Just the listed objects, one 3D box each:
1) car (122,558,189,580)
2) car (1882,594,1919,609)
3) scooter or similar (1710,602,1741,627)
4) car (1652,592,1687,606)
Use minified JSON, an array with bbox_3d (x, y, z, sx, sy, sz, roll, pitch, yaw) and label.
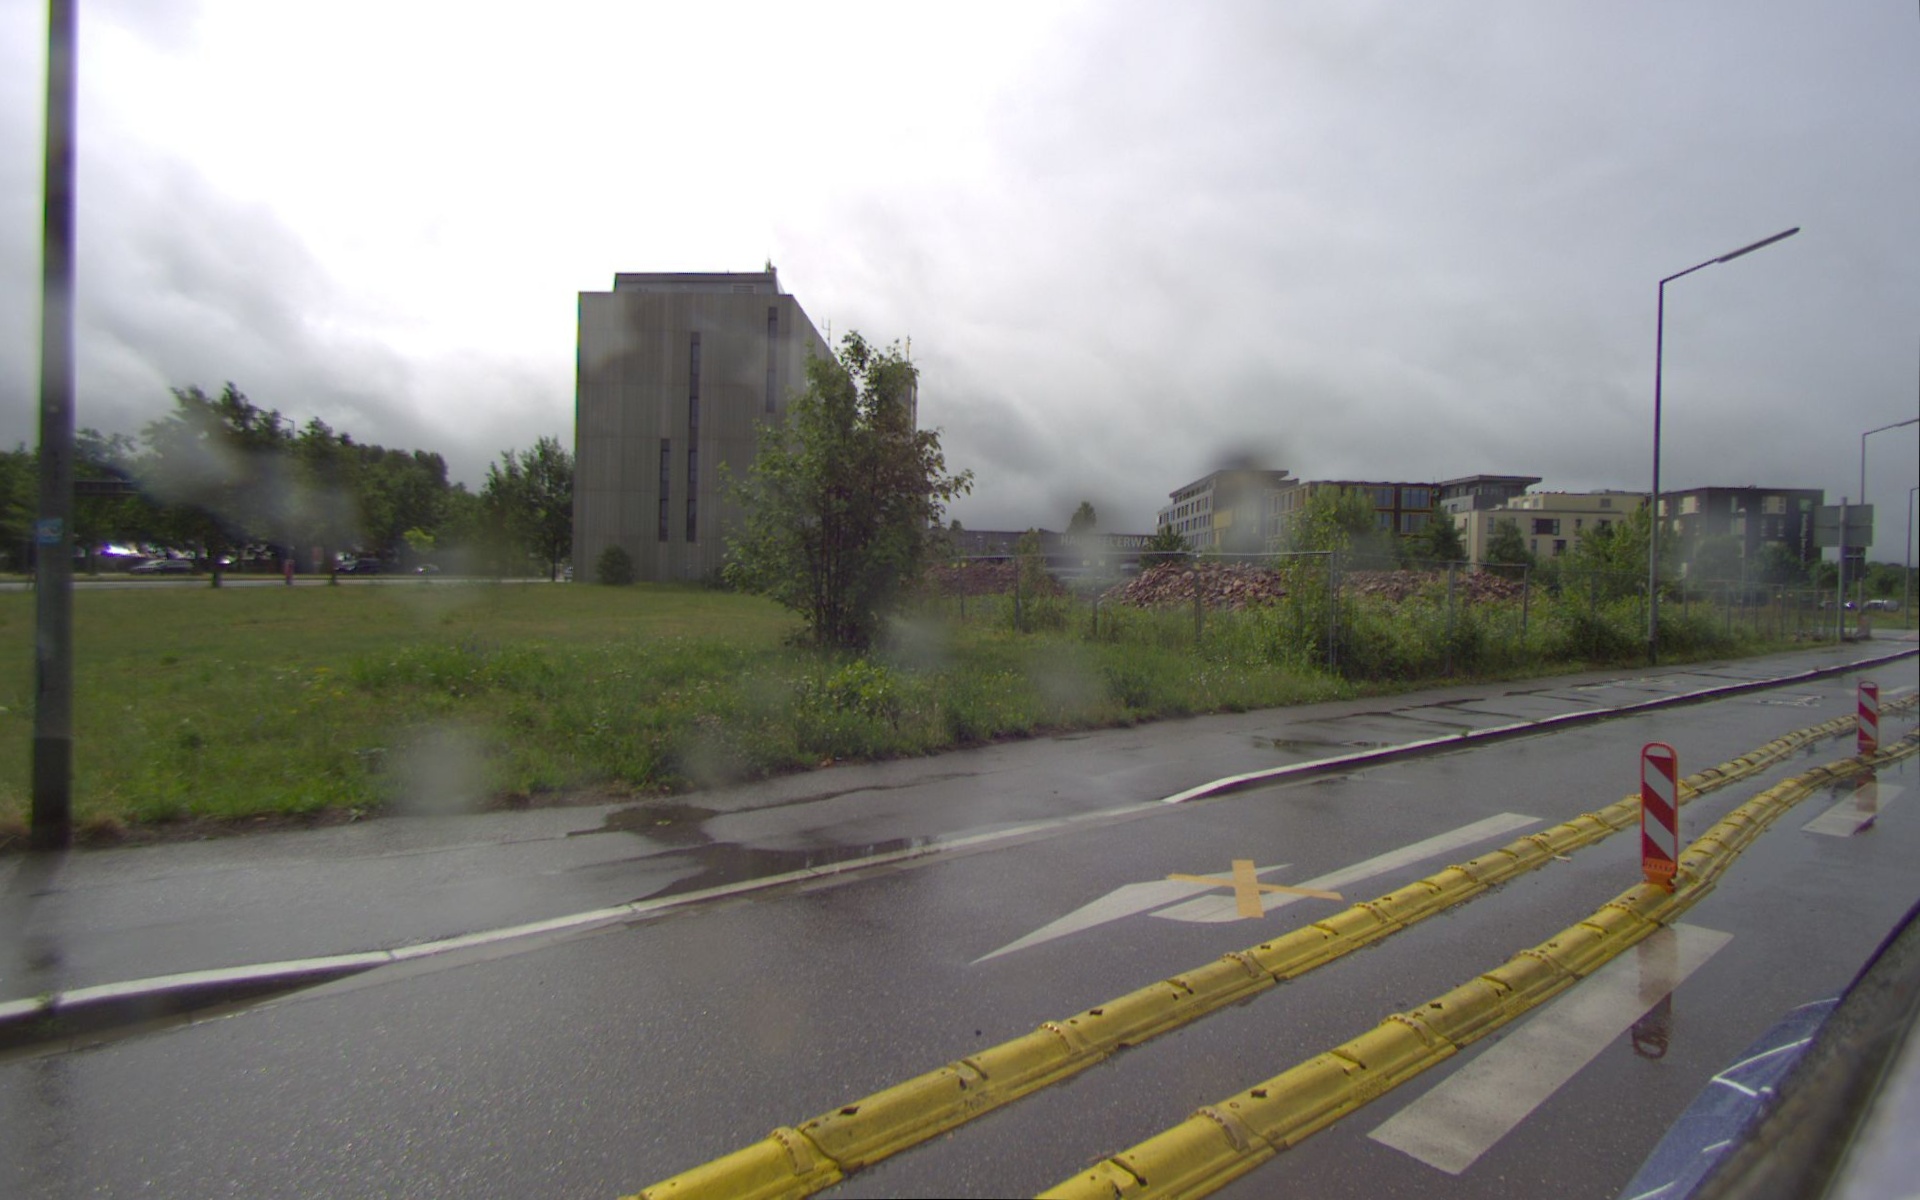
[{"bbox_3d":[-60.338,-2.323,75.967,1.515,1.578,4.232,1,1,3],"label":"car"},{"bbox_3d":[136.876,0.169,146.917,3.930,2.039,1.997,1,0,6],"label":"car"},{"bbox_3d":[38.134,0.708,50.430,0.473,1.164,1.196,1,1,-7],"label":"scooter or similar"},{"bbox_3d":[87.653,-0.149,124.991,3.591,1.603,1.652,1,1,-17],"label":"car"}]
